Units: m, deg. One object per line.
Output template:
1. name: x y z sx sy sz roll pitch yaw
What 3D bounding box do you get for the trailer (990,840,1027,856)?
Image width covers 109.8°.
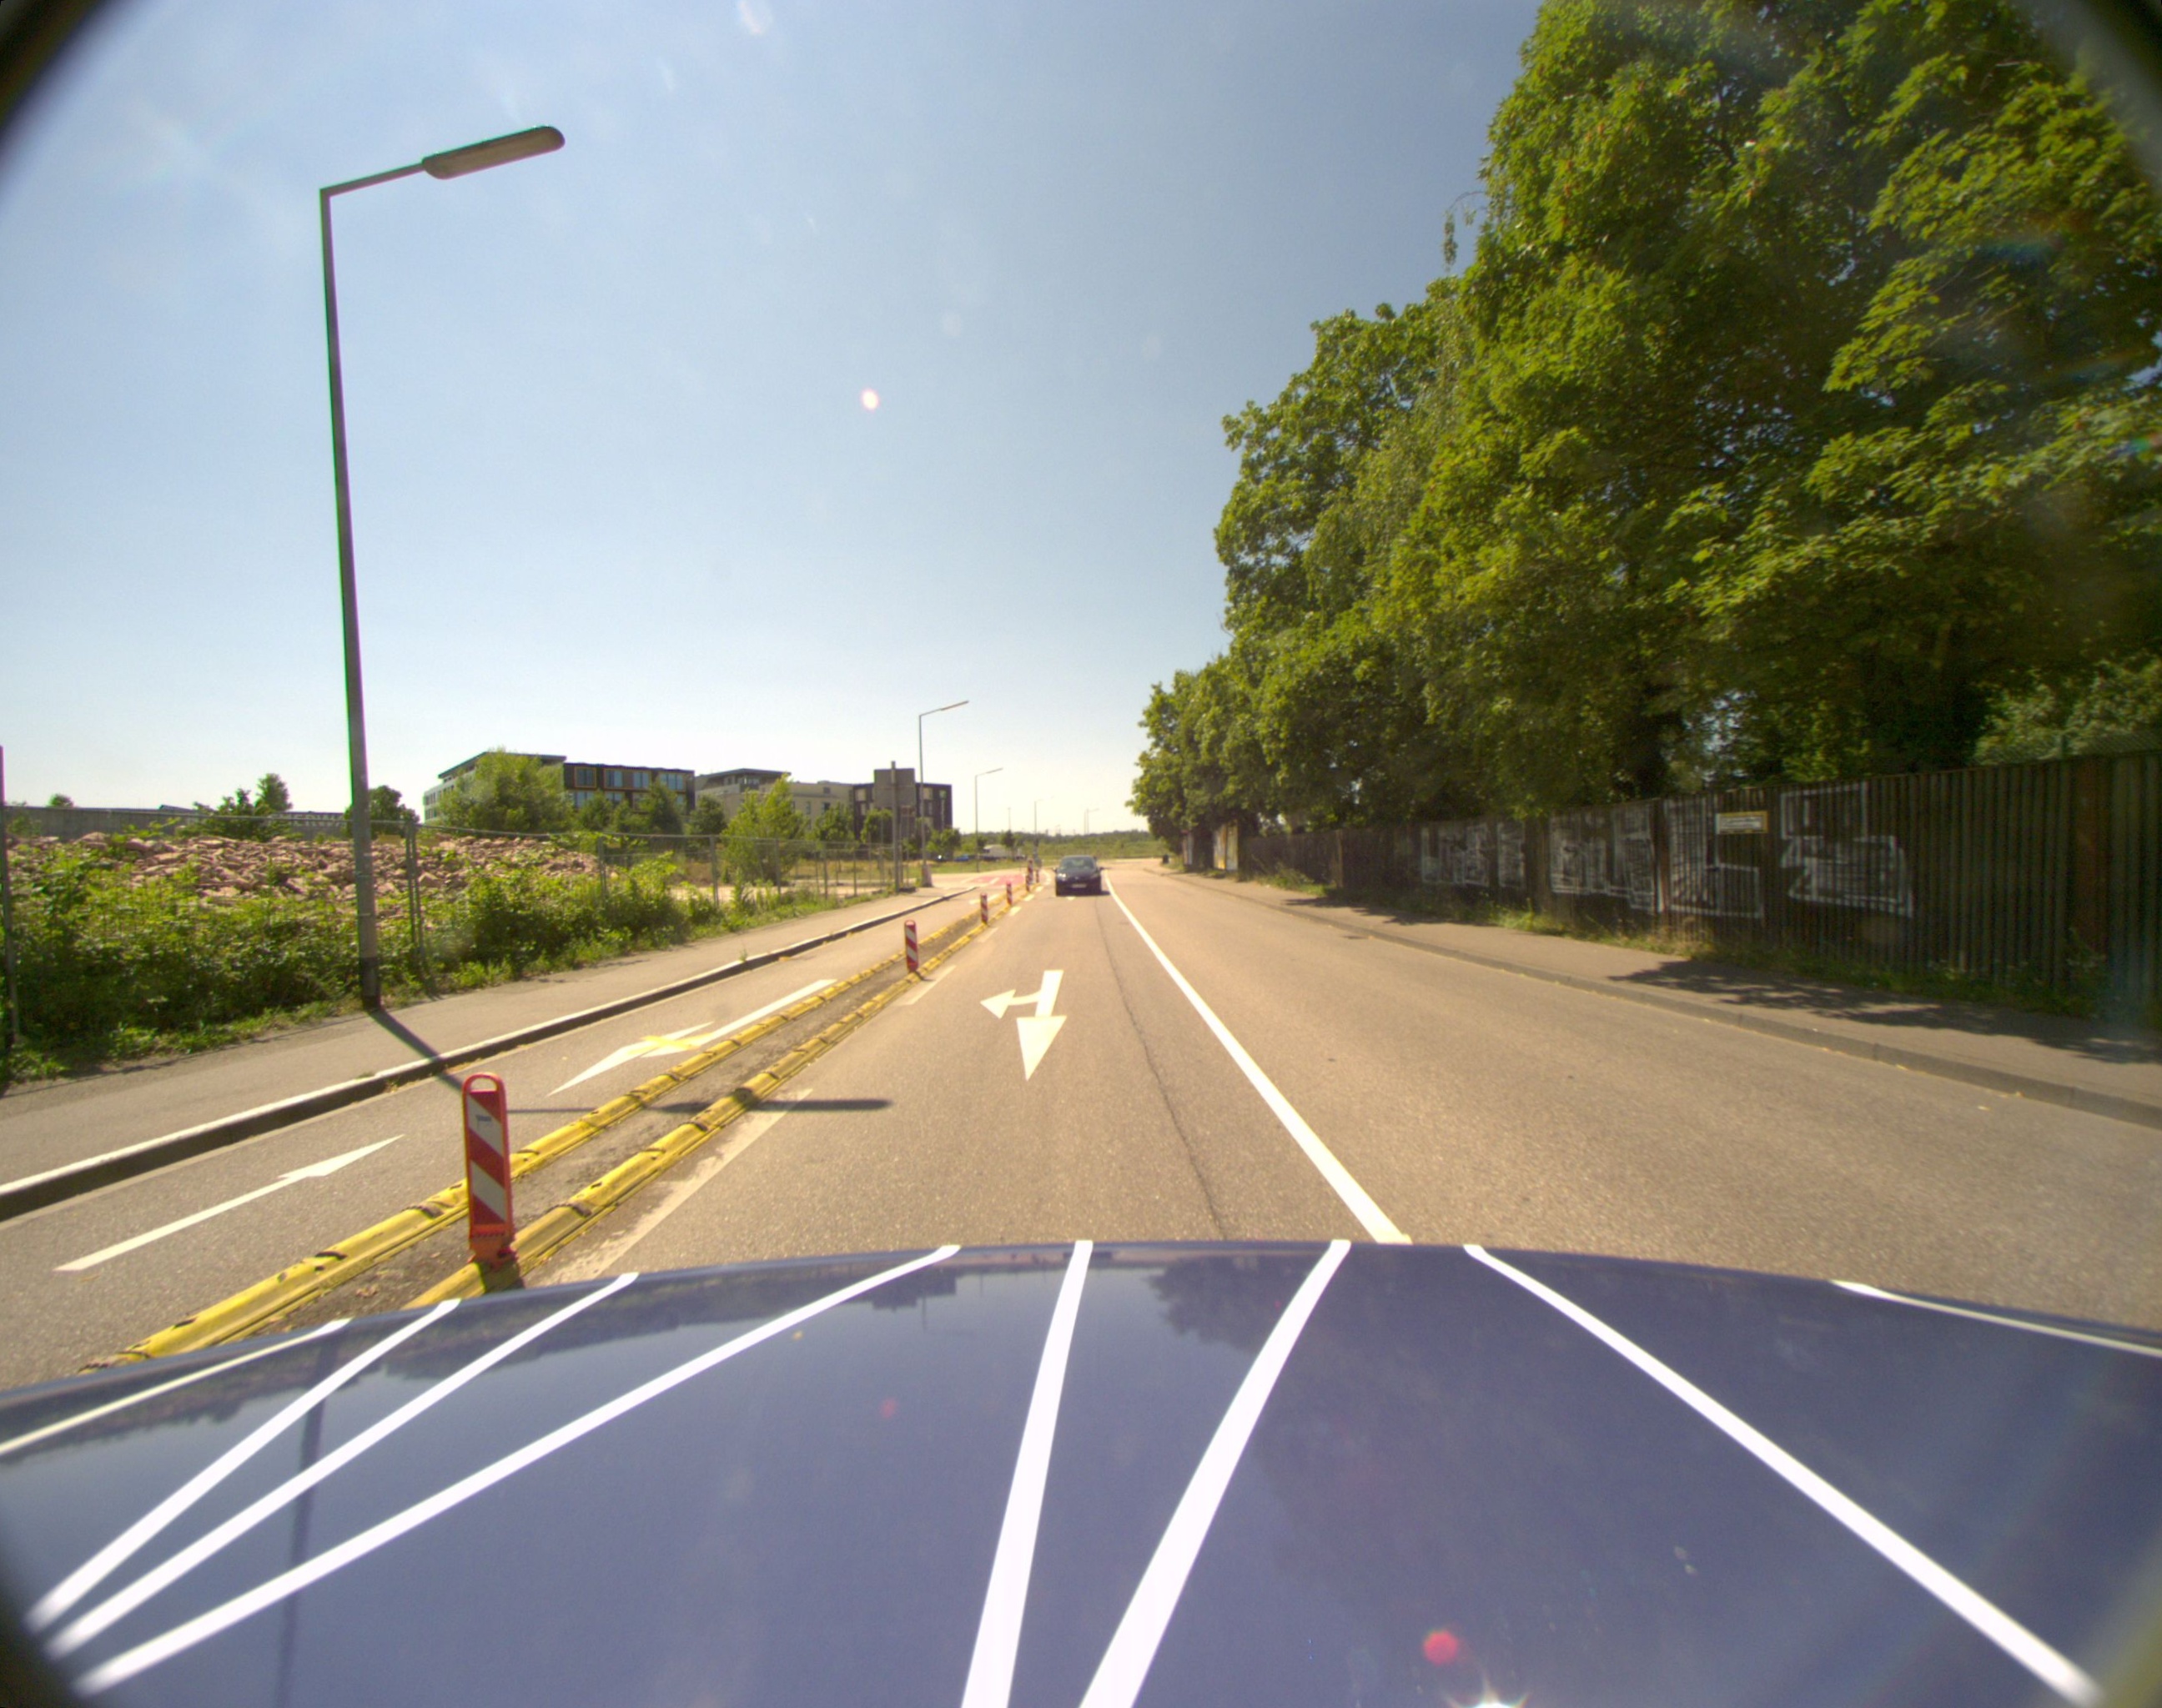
1. trailer: -15.052 -1.245 157.759 8.193 3.329 1.994 -1 1 -45

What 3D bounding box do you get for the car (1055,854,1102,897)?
1. car: -0.054 0.748 28.491 1.602 1.422 4.000 -2 0 1

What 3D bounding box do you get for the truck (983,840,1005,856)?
1. truck: -17.814 -1.208 155.025 4.008 3.317 1.994 -1 1 -45
